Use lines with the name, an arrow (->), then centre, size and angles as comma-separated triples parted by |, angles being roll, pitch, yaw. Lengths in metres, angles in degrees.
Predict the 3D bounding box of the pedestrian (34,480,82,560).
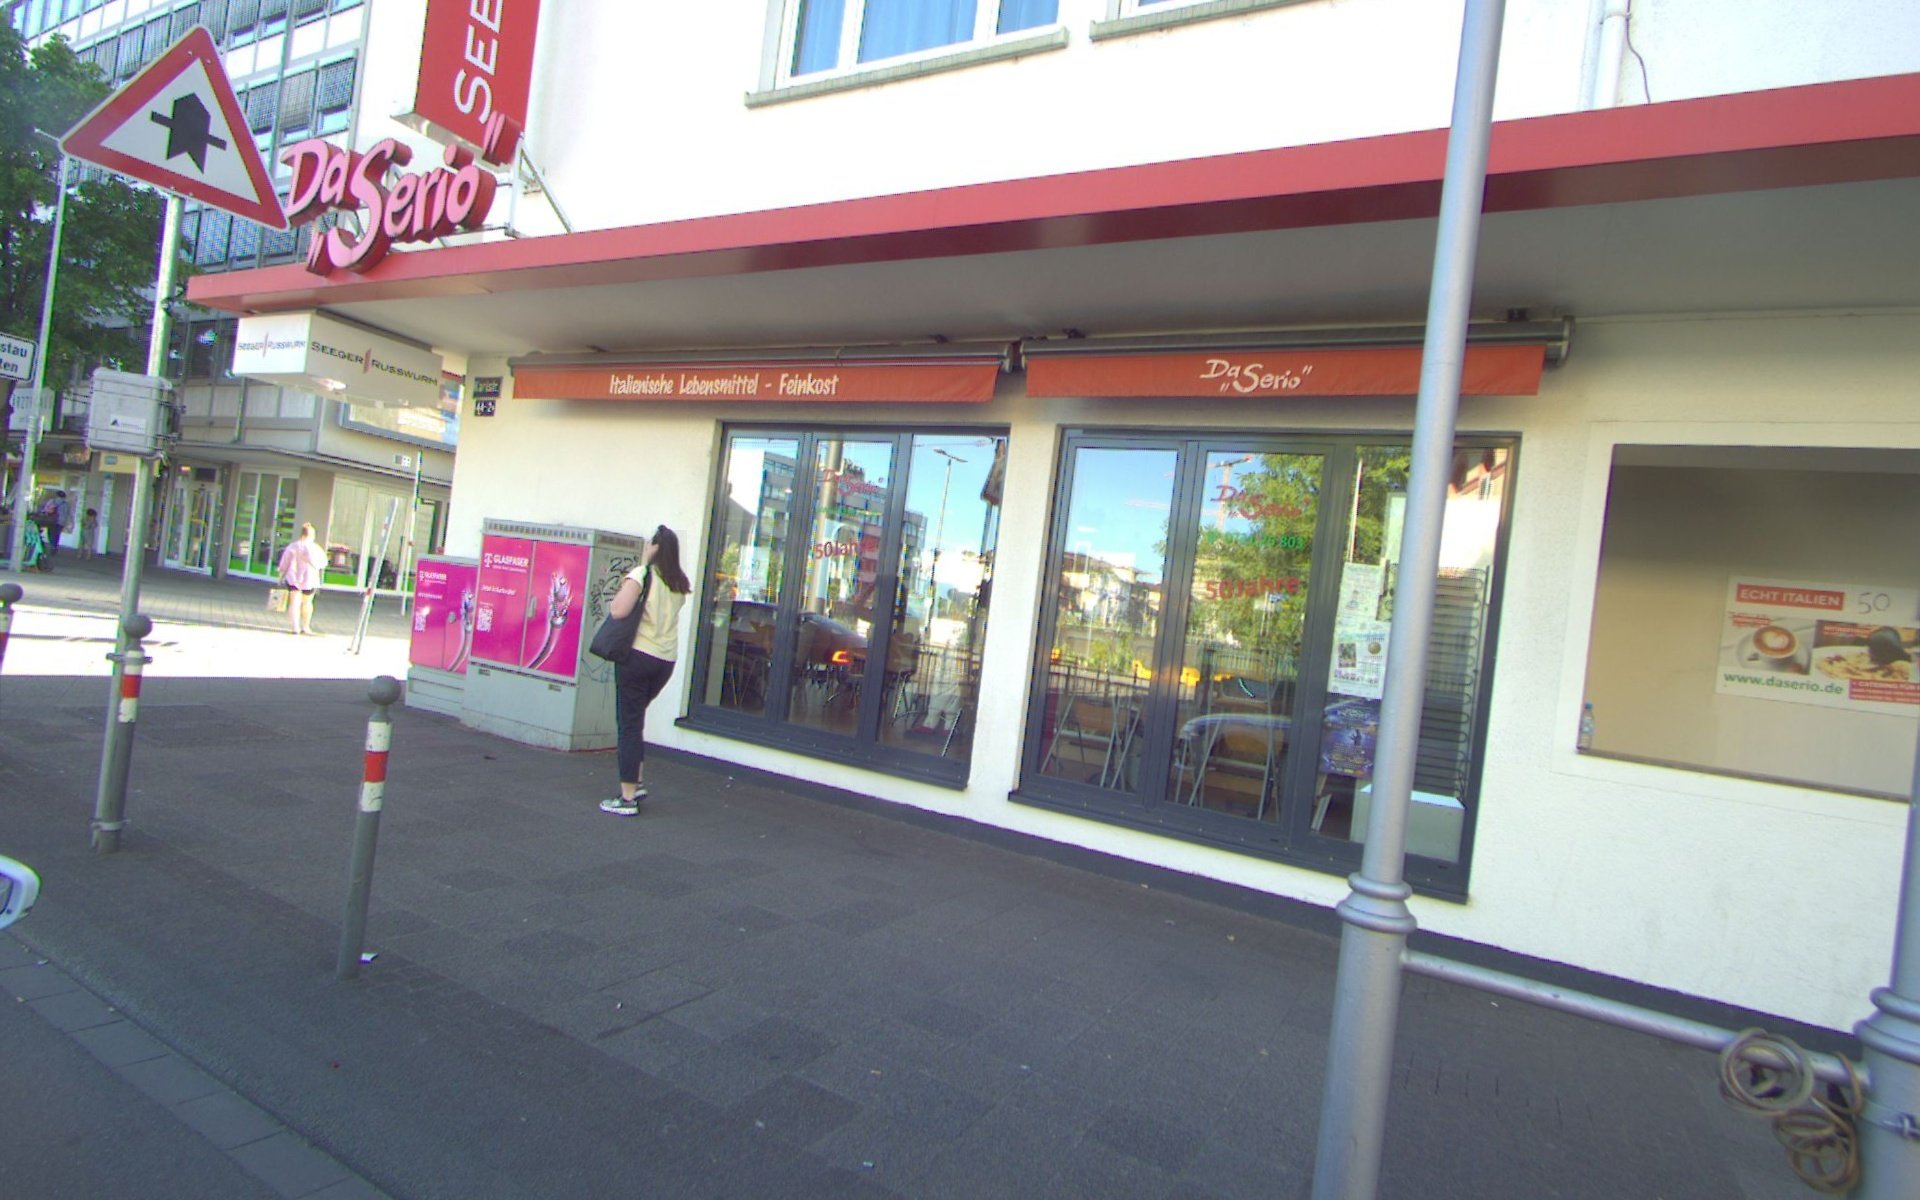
pedestrian -> -24.316, -2.147, 27.122 | 0.570, 2.037, 0.663 | 6, -1, 34

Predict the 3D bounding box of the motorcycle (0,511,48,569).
motorcycle -> -21.612, -1.418, 22.428 | 0.532, 1.186, 1.711 | 7, -2, 30

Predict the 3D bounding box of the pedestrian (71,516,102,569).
pedestrian -> -23.851, -1.574, 27.475 | 0.504, 1.359, 0.390 | 6, -1, 34

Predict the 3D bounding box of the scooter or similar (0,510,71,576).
scooter or similar -> -19.946, -1.235, 21.176 | 1.628, 1.229, 0.640 | 8, -1, -29

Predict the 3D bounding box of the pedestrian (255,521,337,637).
pedestrian -> -10.452, -0.326, 15.841 | 0.884, 1.687, 0.801 | 8, -1, -35

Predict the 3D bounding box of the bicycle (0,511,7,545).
bicycle -> -30.503, -2.302, 31.747 | 1.237, 1.046, 0.332 | 6, -1, 36

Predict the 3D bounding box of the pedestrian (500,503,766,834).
pedestrian -> -1.993, 0.392, 6.195 | 1.020, 1.773, 0.916 | 7, 0, 28
